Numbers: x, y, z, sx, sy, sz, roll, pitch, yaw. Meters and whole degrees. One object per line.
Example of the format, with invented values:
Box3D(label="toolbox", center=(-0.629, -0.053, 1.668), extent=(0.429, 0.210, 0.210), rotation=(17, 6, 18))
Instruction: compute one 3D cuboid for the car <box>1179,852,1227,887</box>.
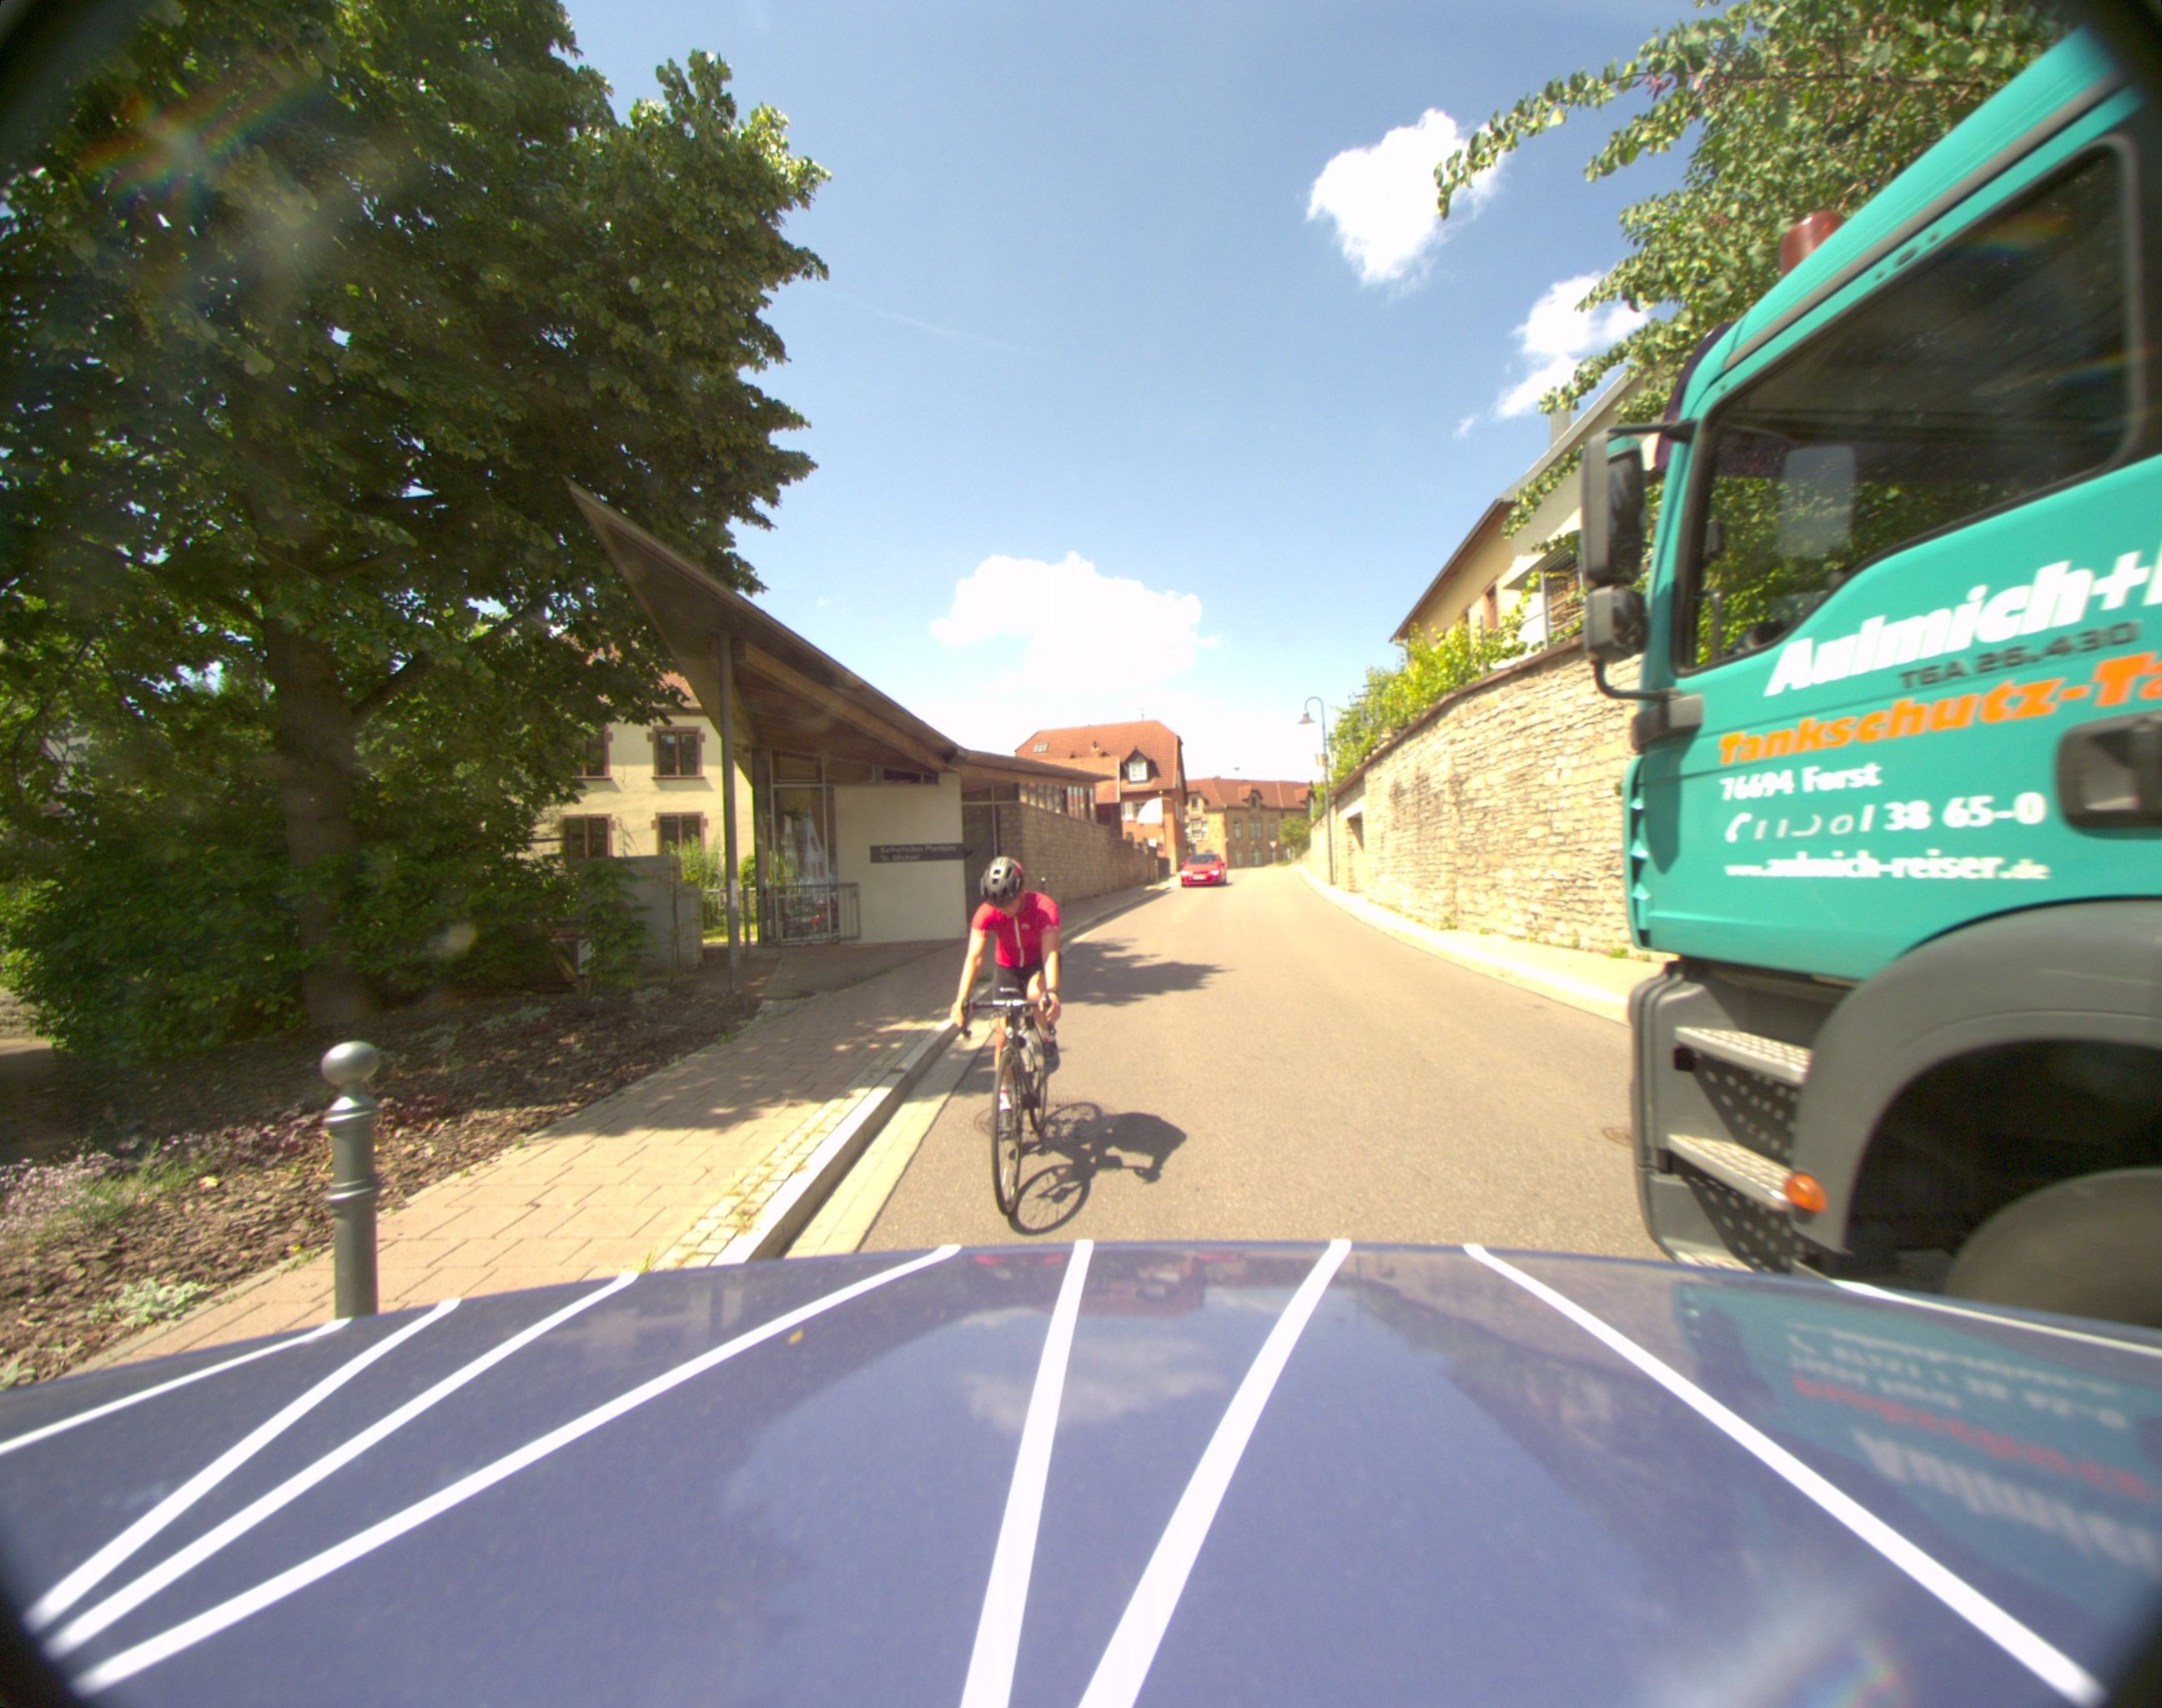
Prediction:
Box3D(label="car", center=(5.272, 0.631, 32.641), extent=(1.668, 1.344, 3.497), rotation=(-2, 1, 14))

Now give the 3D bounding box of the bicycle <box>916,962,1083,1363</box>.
Box3D(label="bicycle", center=(-0.334, 1.199, 3.624), extent=(0.531, 1.070, 2.053), rotation=(-2, 0, -3))

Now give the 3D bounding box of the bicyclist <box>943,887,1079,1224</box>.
Box3D(label="bicyclist", center=(-0.321, 0.878, 3.638), extent=(0.532, 1.396, 0.755), rotation=(-2, 0, -3))

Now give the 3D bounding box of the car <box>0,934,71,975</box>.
Box3D(label="car", center=(-45.462, 4.299, 32.200), extent=(1.673, 1.495, 3.803), rotation=(-3, -1, -28))
